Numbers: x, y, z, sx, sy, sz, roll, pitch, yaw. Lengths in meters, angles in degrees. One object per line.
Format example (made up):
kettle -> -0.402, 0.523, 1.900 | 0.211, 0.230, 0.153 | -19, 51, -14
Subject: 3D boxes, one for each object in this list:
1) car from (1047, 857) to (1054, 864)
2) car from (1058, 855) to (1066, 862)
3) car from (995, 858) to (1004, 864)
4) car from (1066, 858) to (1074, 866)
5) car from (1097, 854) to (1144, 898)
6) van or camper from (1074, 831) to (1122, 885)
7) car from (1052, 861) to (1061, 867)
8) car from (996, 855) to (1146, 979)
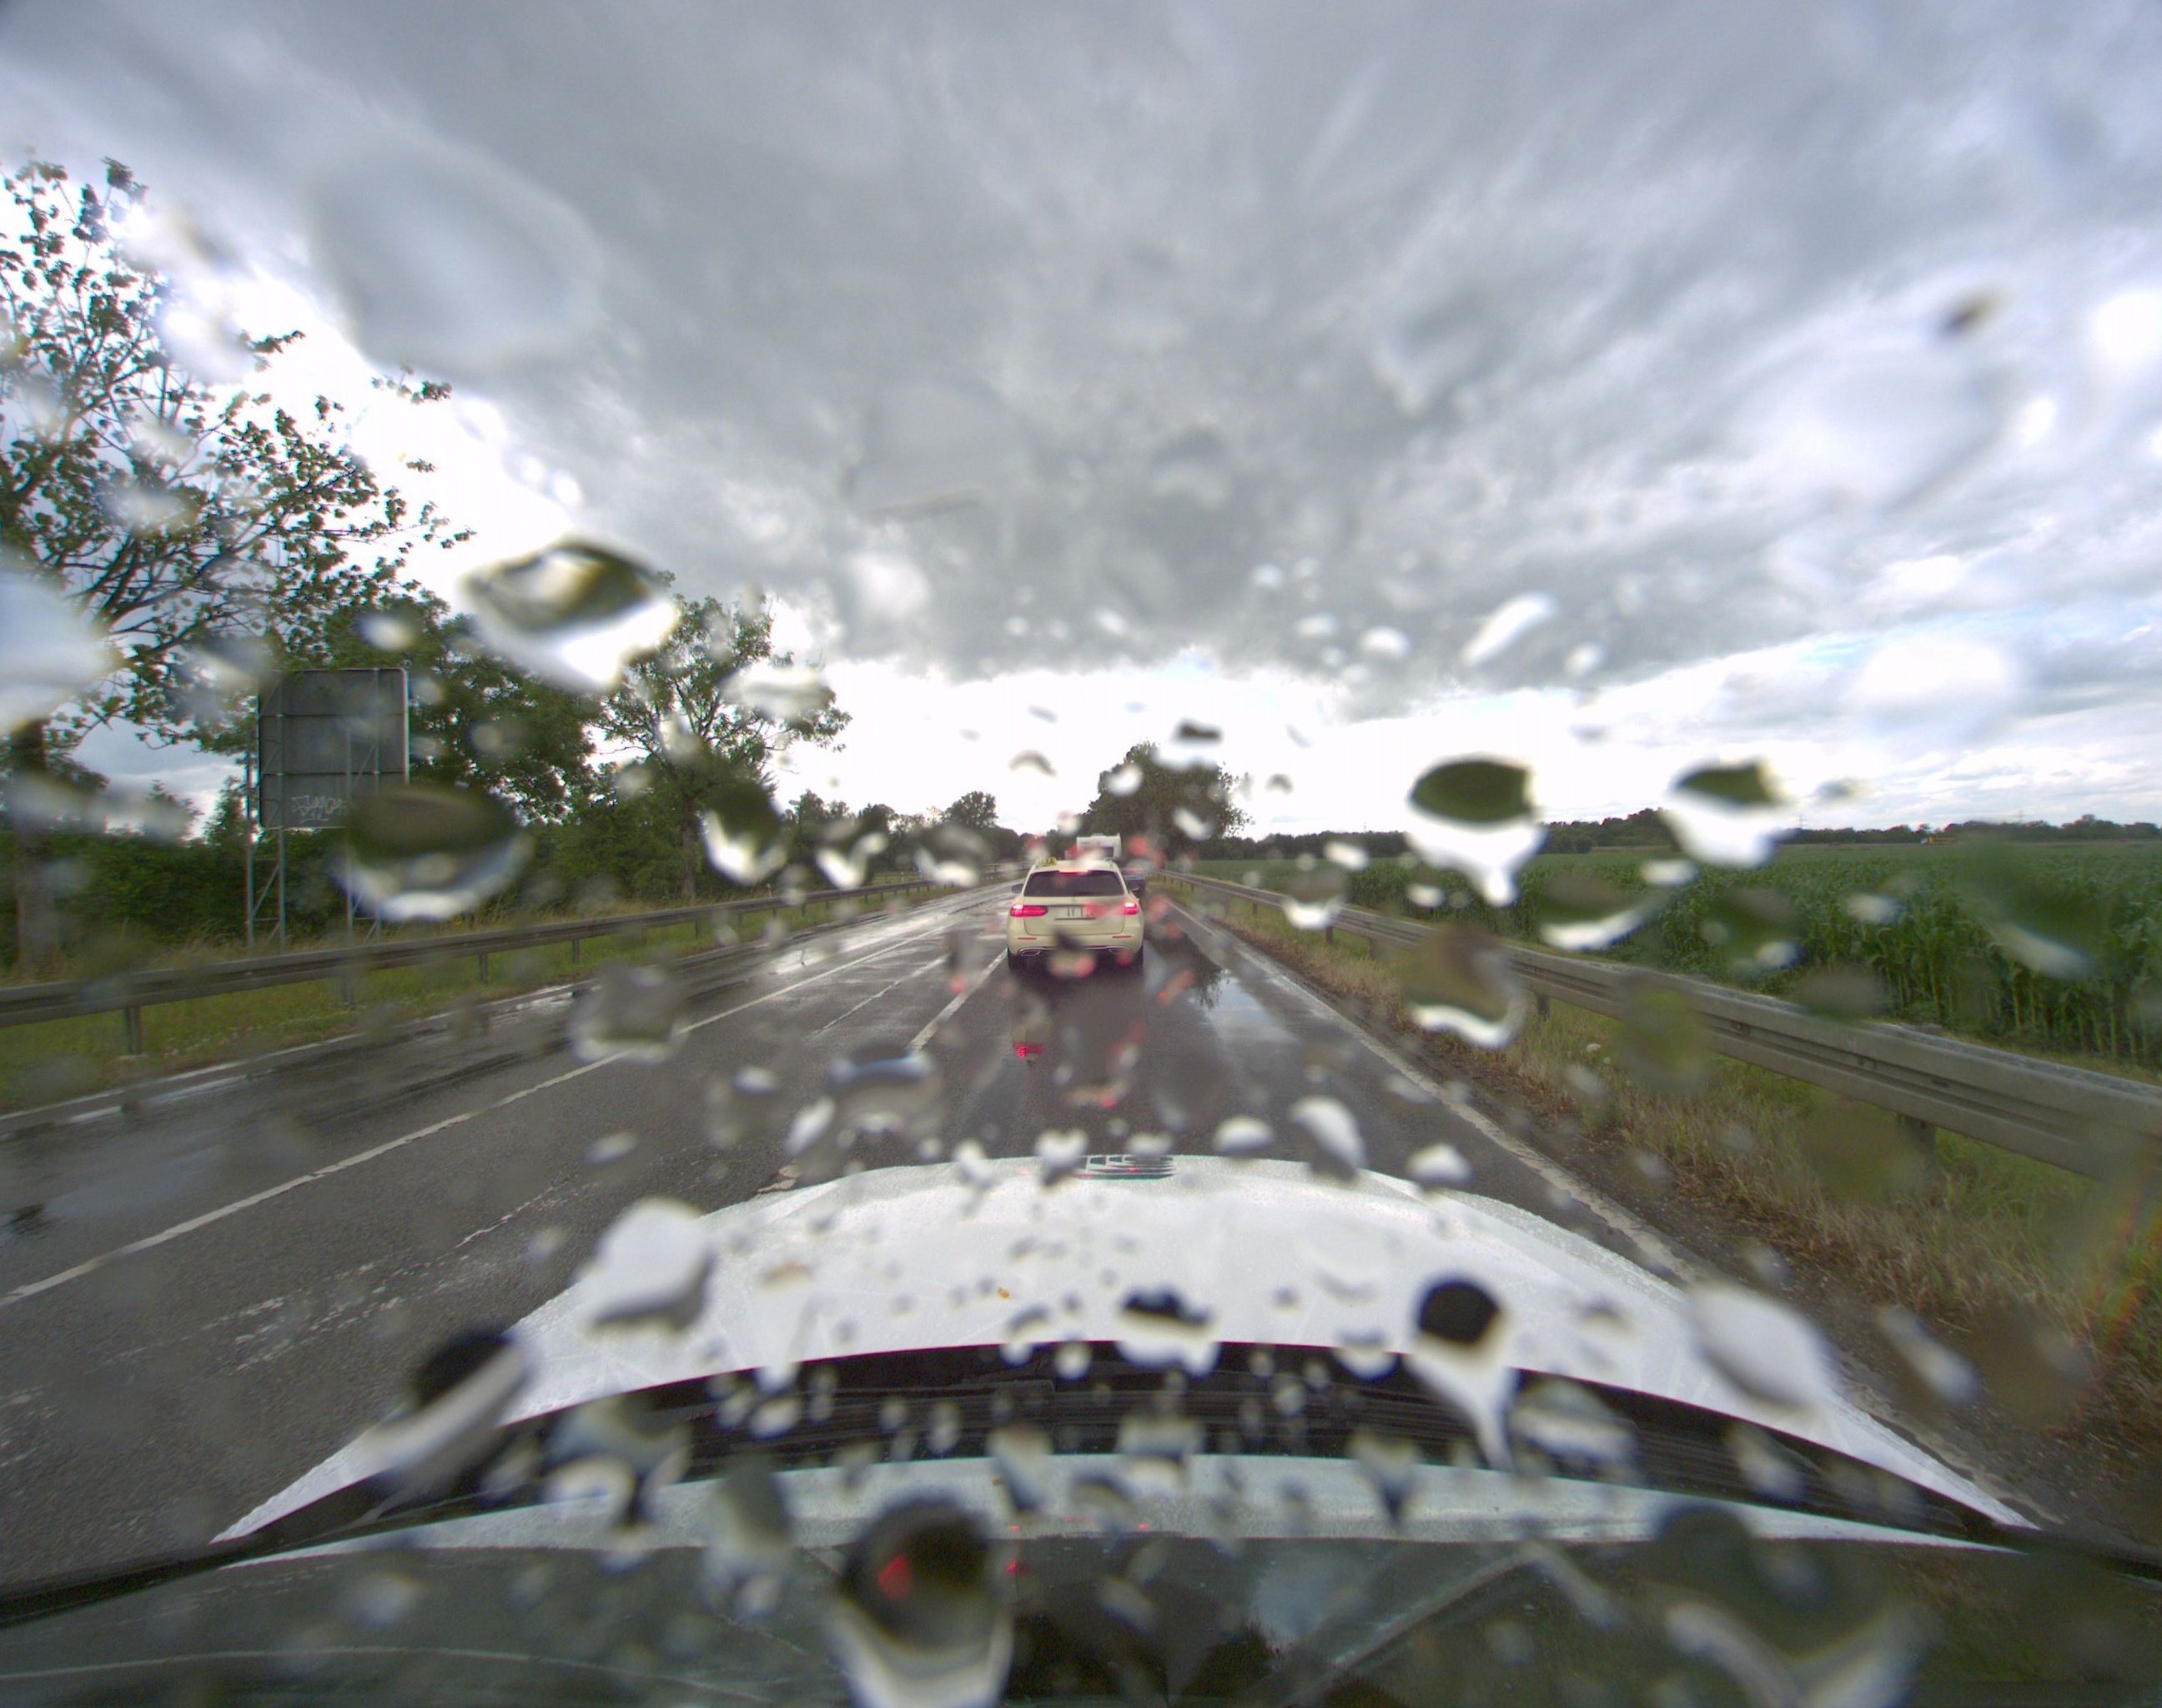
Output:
car -> -9.667, 2.050, 256.321 | 1.989, 2.013, 3.995 | -1, 0, -3
car -> -4.877, 1.199, 214.776 | 1.987, 2.014, 3.999 | -1, 0, 0
car -> -24.111, 2.033, 241.343 | 1.985, 1.651, 4.003 | -1, 0, 3
car -> -2.769, 1.946, 200.627 | 1.989, 2.051, 3.996 | -1, 0, -2
car -> 1.475, 0.772, 30.759 | 1.621, 1.529, 3.934 | -1, 0, 2
van or camper -> 0.973, 0.195, 44.267 | 2.341, 2.680, 5.771 | -1, 0, 2
car -> -5.625, 2.307, 190.015 | 1.752, 1.269, 4.002 | -1, 0, 2
car -> -0.012, 0.786, 12.080 | 1.817, 1.485, 4.148 | -1, 0, 3
